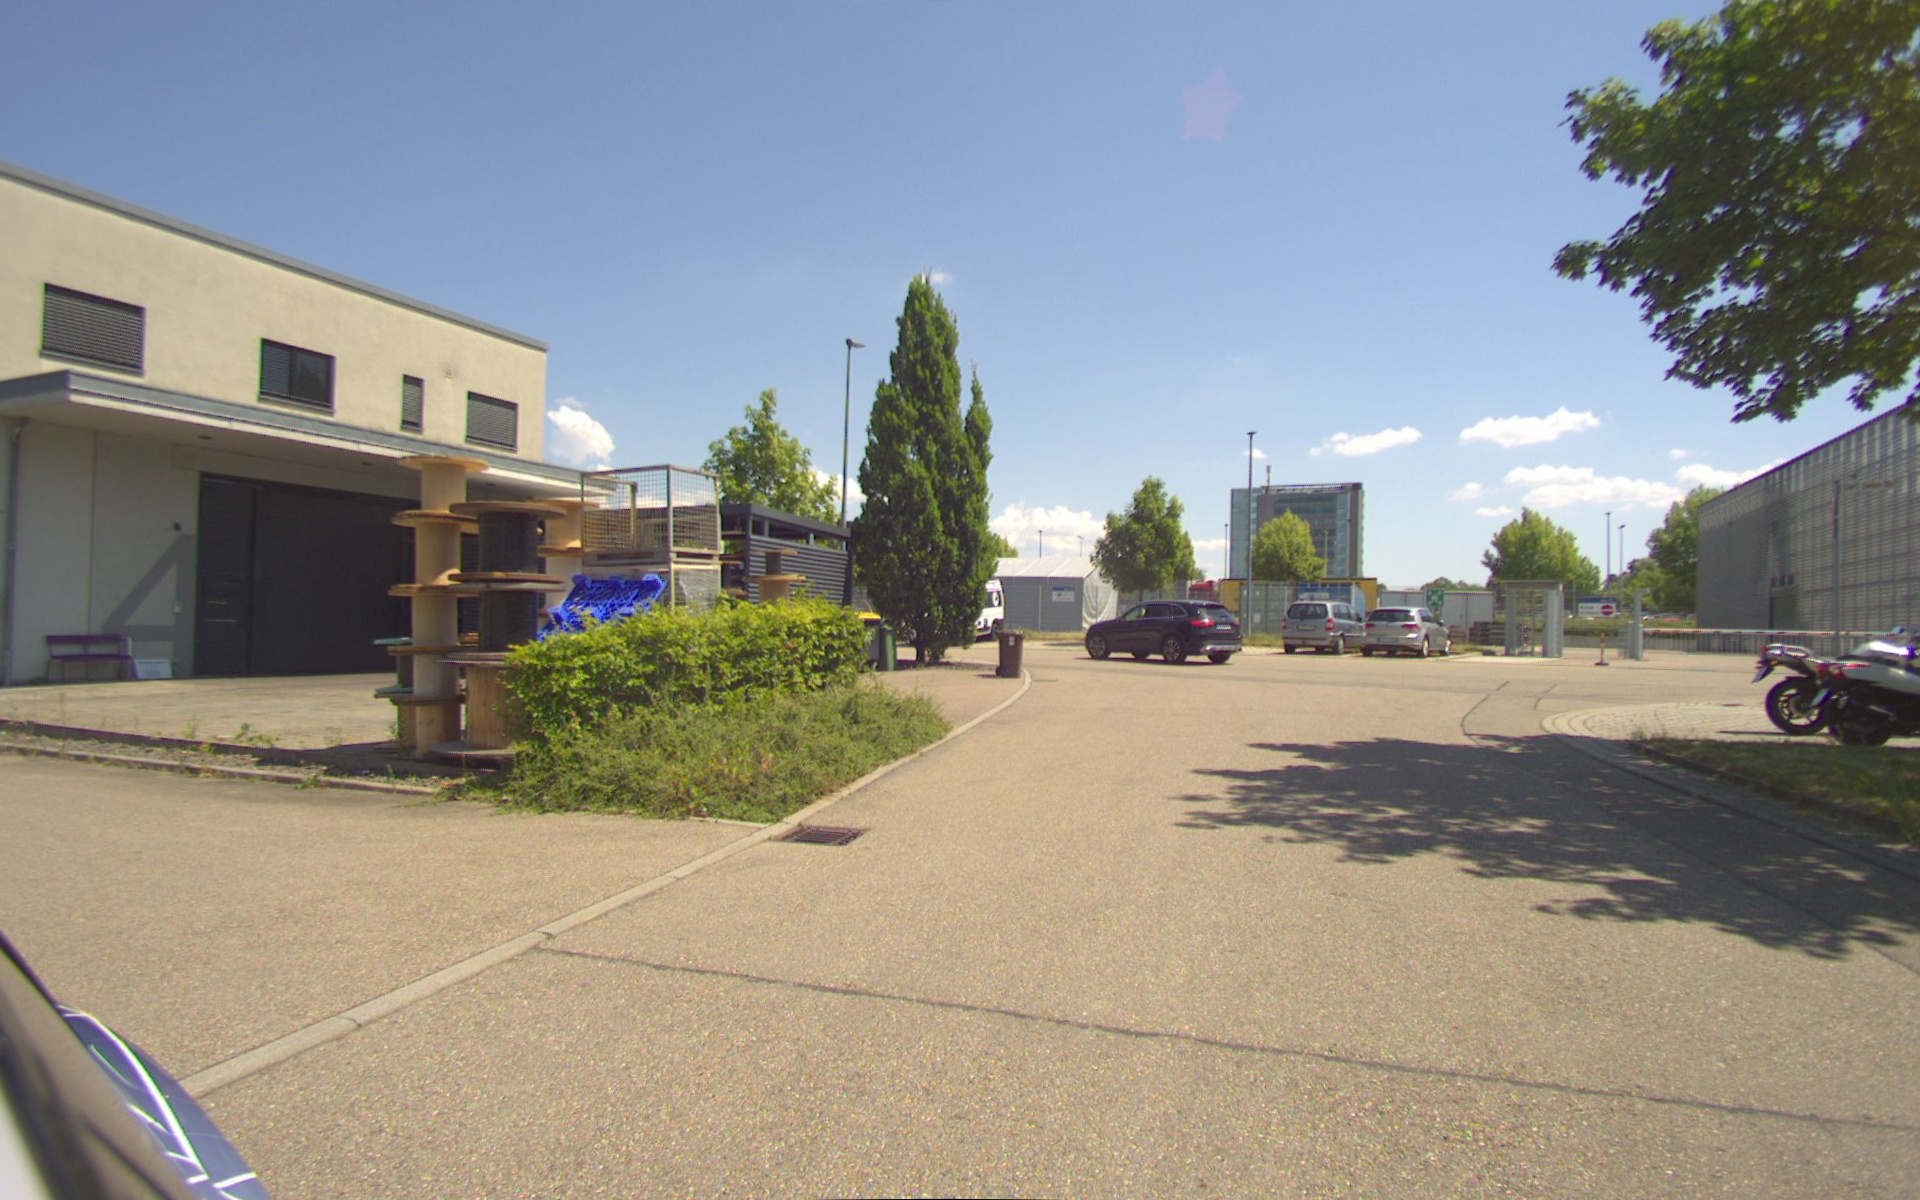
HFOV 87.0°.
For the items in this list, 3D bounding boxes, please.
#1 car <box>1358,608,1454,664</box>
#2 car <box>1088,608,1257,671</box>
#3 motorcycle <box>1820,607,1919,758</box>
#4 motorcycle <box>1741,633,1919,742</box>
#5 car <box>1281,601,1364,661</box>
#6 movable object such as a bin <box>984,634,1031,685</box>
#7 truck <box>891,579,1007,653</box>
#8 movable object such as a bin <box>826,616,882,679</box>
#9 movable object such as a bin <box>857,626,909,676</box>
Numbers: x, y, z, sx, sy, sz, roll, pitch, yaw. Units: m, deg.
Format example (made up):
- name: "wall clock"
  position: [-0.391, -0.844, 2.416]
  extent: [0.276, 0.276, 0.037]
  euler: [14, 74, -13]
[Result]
- name: "car"
  position: [13.202, 1.018, 29.839]
  extent: [1.651, 1.533, 3.948]
  euler: [0, -1, 39]
- name: "car"
  position: [5.522, 1.009, 26.802]
  extent: [1.926, 1.525, 4.271]
  euler: [1, -1, -33]
- name: "motorcycle"
  position: [9.396, 0.759, 9.484]
  extent: [1.972, 1.400, 0.482]
  euler: [-1, -1, 17]
- name: "motorcycle"
  position: [9.685, 0.919, 10.872]
  extent: [1.972, 1.117, 0.482]
  euler: [-1, -1, 17]
- name: "car"
  position: [11.332, 0.928, 31.505]
  extent: [1.765, 1.751, 3.959]
  euler: [0, -1, 30]
- name: "movable object such as a bin"
  position: [0.947, 1.185, 20.238]
  extent: [0.757, 0.977, 0.584]
  euler: [0, -1, 30]
- name: "truck"
  position: [-0.325, 0.622, 39.645]
  extent: [2.405, 2.692, 5.650]
  euler: [-1, -1, 25]
- name: "movable object such as a bin"
  position: [-2.314, 1.020, 22.202]
  extent: [0.757, 1.346, 1.062]
  euler: [0, -1, 29]
- name: "movable object such as a bin"
  position: [-1.755, 1.161, 23.143]
  extent: [0.757, 1.092, 0.978]
  euler: [0, -1, 29]
